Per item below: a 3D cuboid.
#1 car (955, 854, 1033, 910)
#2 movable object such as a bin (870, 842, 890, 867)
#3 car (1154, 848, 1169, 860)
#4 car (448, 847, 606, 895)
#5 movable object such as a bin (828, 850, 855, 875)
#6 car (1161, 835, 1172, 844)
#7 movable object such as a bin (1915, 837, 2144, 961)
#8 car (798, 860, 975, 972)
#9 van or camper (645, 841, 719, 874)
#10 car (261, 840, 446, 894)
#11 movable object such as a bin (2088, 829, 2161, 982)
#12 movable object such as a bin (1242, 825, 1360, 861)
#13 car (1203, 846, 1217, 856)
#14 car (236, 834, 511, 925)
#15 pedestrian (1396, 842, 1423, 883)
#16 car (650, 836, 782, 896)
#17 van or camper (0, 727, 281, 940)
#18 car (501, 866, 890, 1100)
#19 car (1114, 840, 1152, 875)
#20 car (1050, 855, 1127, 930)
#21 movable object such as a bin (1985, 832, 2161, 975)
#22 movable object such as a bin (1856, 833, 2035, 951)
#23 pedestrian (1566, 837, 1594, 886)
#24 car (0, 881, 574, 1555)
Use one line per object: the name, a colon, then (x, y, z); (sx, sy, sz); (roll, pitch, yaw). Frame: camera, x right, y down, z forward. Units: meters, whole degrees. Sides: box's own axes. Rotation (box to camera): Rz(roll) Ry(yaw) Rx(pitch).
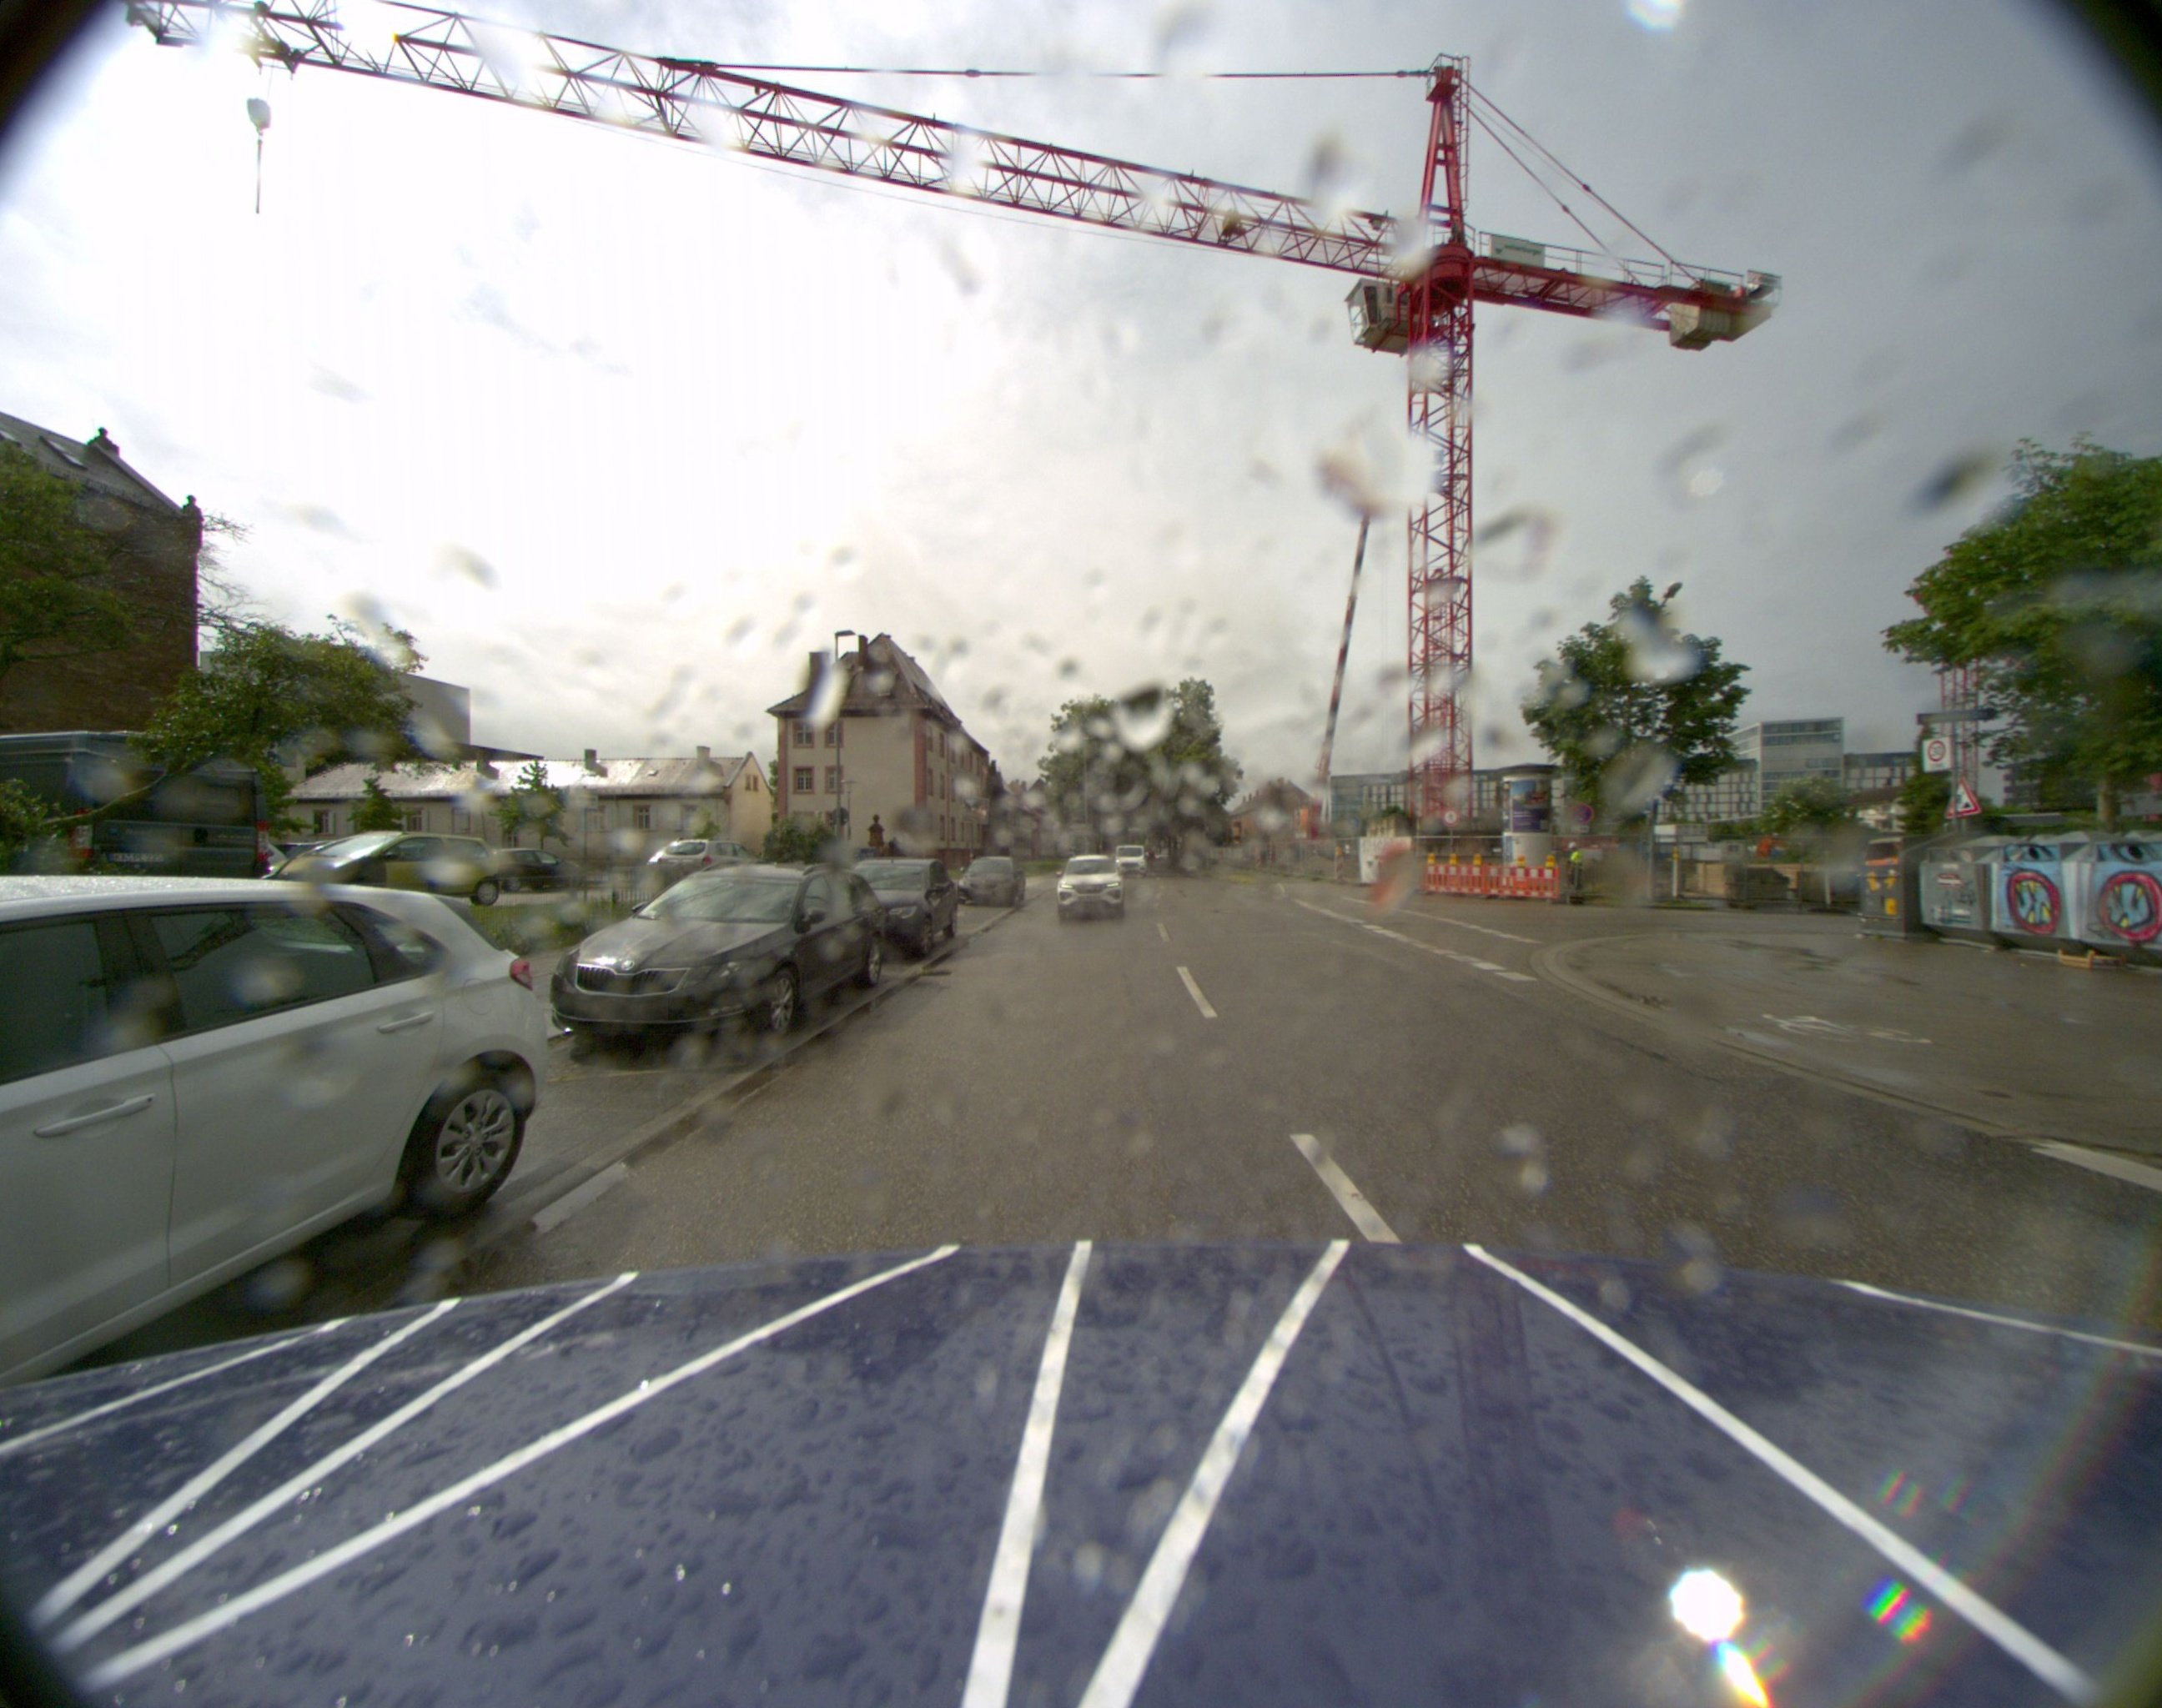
car: (-2.700, 0.820, 24.408); (1.778, 1.531, 4.378); (2, 0, 2)
movable object such as a bin: (-11.976, 0.042, 45.276); (0.801, 1.449, 1.097); (1, 1, 5)
car: (11.267, -0.031, 106.540); (1.845, 1.598, 4.001); (-2, 0, 5)
car: (-18.981, 0.531, 26.334); (1.832, 1.518, 4.426); (0, 0, 9)
movable object such as a bin: (-14.292, 0.517, 45.371); (1.108, 1.448, 1.391); (1, 1, 5)
car: (15.484, -2.551, 137.826); (1.817, 1.531, 3.983); (2, 0, 5)
movable object such as a bin: (13.710, 0.596, 11.102); (1.539, 1.646, 1.530); (0, 0, 23)
car: (-3.090, 0.909, 12.953); (1.761, 1.519, 4.000); (0, 1, 4)
van or camper: (-26.620, 0.224, 50.889); (1.793, 2.104, 5.187); (-2, 0, 5)
car: (-24.815, 0.398, 26.180); (1.857, 1.669, 4.425); (0, 0, 6)
movable object such as a bin: (12.456, 0.557, 8.100); (1.539, 1.652, 1.461); (0, 0, 23)
movable object such as a bin: (31.771, -1.569, 110.344); (15.937, 4.532, 3.102); (-2, 2, 7)
car: (22.039, -0.483, 130.114); (1.693, 1.521, 3.999); (-2, 1, 1)
car: (-12.614, 0.392, 13.866); (1.614, 1.440, 3.418); (0, 1, 7)
pedestrian: (13.359, 0.358, 30.895); (0.725, 1.620, 0.682); (-3, 2, -33)
car: (-11.423, 0.335, 24.147); (1.807, 1.740, 4.240); (0, 0, 6)
van or camper: (-14.472, -0.245, 10.371); (5.009, 2.540, 2.175); (-1, 2, 5)
car: (-3.281, 0.952, 7.500); (1.608, 1.499, 4.160); (2, 1, 2)
car: (3.246, 0.168, 48.592); (2.107, 1.990, 5.434); (-2, 1, 1)
car: (0.283, 0.837, 18.404); (1.608, 1.499, 4.000); (-2, 1, 4)
movable object such as a bin: (13.067, 0.588, 9.579); (1.539, 1.664, 1.668); (0, 0, 23)
movable object such as a bin: (14.121, 0.580, 12.502); (1.539, 1.813, 1.265); (0, 0, 23)
pedestrian: (16.564, 0.234, 25.231); (0.619, 1.610, 0.550); (1, 1, 19)
car: (-3.441, 0.917, 1.746); (1.753, 1.499, 4.111); (-1, 1, 0)
